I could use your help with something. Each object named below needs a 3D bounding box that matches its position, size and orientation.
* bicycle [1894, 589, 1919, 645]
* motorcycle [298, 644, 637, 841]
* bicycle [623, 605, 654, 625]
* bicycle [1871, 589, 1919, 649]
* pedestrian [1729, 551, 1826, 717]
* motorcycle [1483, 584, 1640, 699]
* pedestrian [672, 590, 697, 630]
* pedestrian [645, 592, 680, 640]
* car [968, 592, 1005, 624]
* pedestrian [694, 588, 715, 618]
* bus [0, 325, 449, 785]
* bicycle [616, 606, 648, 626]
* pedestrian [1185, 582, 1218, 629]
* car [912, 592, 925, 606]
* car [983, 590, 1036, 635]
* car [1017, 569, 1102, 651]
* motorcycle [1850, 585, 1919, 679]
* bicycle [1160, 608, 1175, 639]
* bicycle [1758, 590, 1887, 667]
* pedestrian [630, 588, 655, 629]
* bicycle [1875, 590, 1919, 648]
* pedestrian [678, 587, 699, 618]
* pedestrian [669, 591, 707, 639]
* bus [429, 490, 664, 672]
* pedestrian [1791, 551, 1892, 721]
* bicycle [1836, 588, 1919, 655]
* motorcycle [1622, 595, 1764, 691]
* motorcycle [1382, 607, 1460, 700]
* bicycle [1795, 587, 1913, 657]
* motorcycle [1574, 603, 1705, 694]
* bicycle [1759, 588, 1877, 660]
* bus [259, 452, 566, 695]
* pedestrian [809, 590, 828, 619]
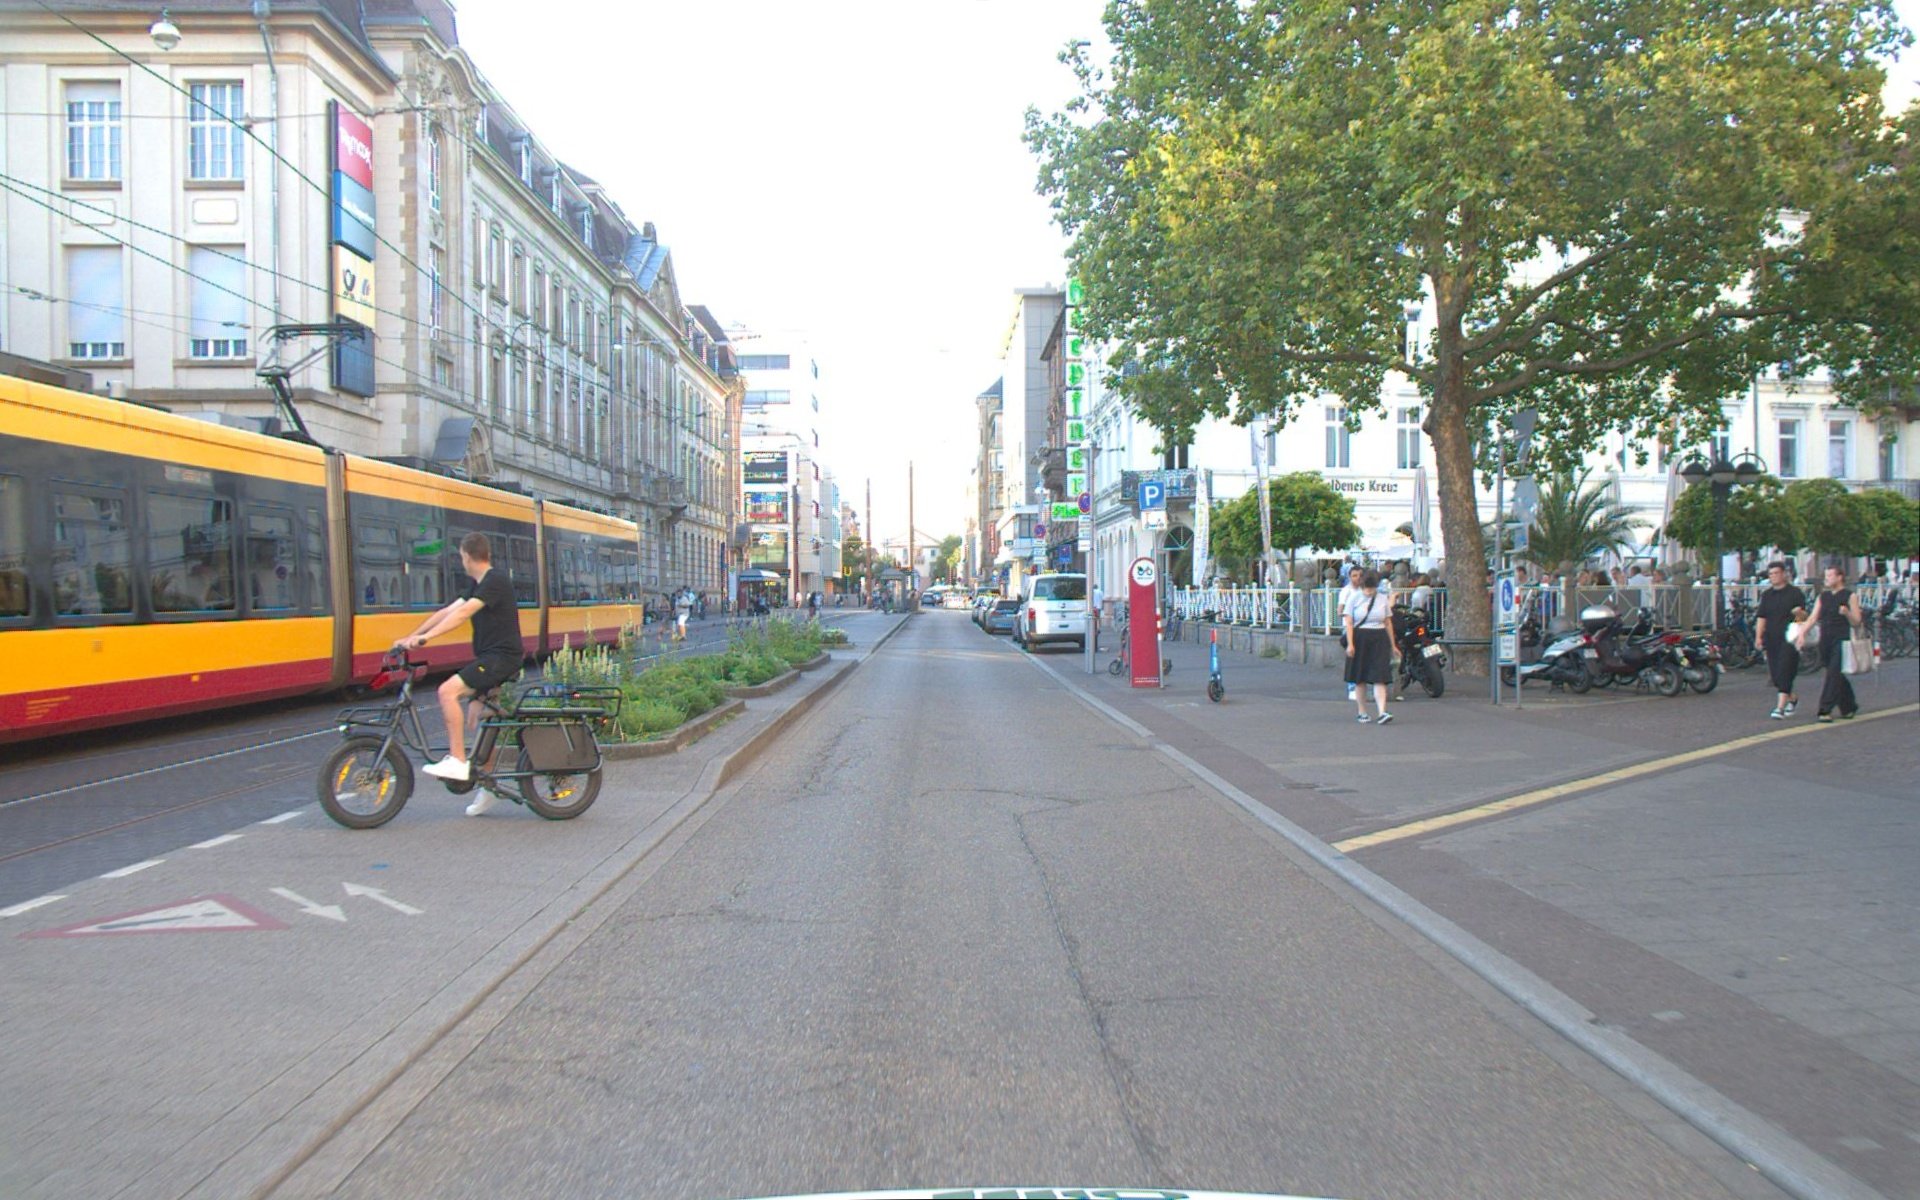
[{"bbox_3d":[23.319,0.408,39.161,2.073,1.314,0.441,0,1,34],"label":"bicycle"},{"bbox_3d":[-3.137,0.872,10.603,2.020,1.143,0.563,0,-2,-28],"label":"motorcycle"},{"bbox_3d":[-16.308,0.761,83.882,1.555,0.965,0.358,0,-1,-13],"label":"bicycle"},{"bbox_3d":[21.348,0.414,36.593,2.073,1.314,0.441,0,0,34],"label":"bicycle"},{"bbox_3d":[8.971,0.377,18.153,0.816,1.772,0.649,1,-2,-39],"label":"pedestrian"},{"bbox_3d":[8.349,0.538,23.068,0.557,1.447,2.277,0,2,-27],"label":"motorcycle"},{"bbox_3d":[-11.940,0.425,71.687,1.030,1.715,0.906,0,-2,-10],"label":"pedestrian"},{"bbox_3d":[-9.657,0.521,53.704,0.746,1.540,0.858,-2,-2,42],"label":"pedestrian"},{"bbox_3d":[1.494,0.477,94.375,1.953,1.696,4.419,-1,-2,-1],"label":"car"},{"bbox_3d":[-14.575,0.161,94.399,1.033,1.715,0.903,-1,0,-20],"label":"pedestrian"},{"bbox_3d":[-9.163,-0.363,16.852,2.765,3.715,17.070,-1,0,-1],"label":"bus"},{"bbox_3d":[-16.304,0.796,82.149,1.555,0.965,0.358,0,-2,-13],"label":"bicycle"},{"bbox_3d":[6.985,0.152,47.837,0.806,1.329,0.869,-1,-2,-2],"label":"pedestrian"},{"bbox_3d":[-5.504,-0.128,220.176,1.725,1.859,3.569,-1,-2,-1],"label":"car"},{"bbox_3d":[2.002,0.509,68.298,1.953,1.791,4.420,-1,0,-1],"label":"car"},{"bbox_3d":[2.569,0.263,43.526,1.876,2.016,4.420,-1,0,-1],"label":"car"},{"bbox_3d":[13.587,0.450,23.159,0.557,1.304,1.931,0,0,-37],"label":"motorcycle"},{"bbox_3d":[6.192,0.715,49.343,0.245,0.918,1.373,-1,-2,-1],"label":"bicycle"},{"bbox_3d":[15.595,0.489,29.957,0.437,1.314,2.090,-1,2,-36],"label":"bicycle"},{"bbox_3d":[-13.556,0.359,70.660,1.030,1.715,0.906,0,-2,-10],"label":"pedestrian"},{"bbox_3d":[21.979,0.424,37.573,2.073,1.314,0.441,0,1,34],"label":"bicycle"},{"bbox_3d":[-15.179,0.152,92.404,1.033,1.715,0.903,0,0,-20],"label":"pedestrian"},{"bbox_3d":[-8.778,0.491,53.413,0.706,1.540,1.031,-1,-2,42],"label":"pedestrian"},{"bbox_3d":[-9.482,-0.308,39.630,2.765,3.676,11.820,-1,-1,-1],"label":"bus"},{"bbox_3d":[9.348,0.381,17.543,0.816,1.754,0.649,1,-2,-39],"label":"pedestrian"},{"bbox_3d":[18.996,0.422,33.665,0.437,1.314,2.090,-1,2,-36],"label":"bicycle"},{"bbox_3d":[10.356,0.577,23.449,0.554,1.304,1.941,0,0,-27],"label":"motorcycle"},{"bbox_3d":[6.168,0.690,22.229,0.446,1.178,2.031,0,0,-1],"label":"motorcycle"},{"bbox_3d":[17.798,0.426,32.973,0.437,1.314,2.090,-2,2,-36],"label":"bicycle"},{"bbox_3d":[9.538,0.658,23.291,0.544,1.171,1.782,0,2,-27],"label":"motorcycle"},{"bbox_3d":[16.821,0.453,32.485,0.437,1.314,2.090,-3,3,-36],"label":"bicycle"},{"bbox_3d":[-9.402,-0.404,29.550,2.765,3.688,8.288,-1,0,-1],"label":"bus"},{"bbox_3d":[-8.383,0.280,97.980,1.027,1.715,0.908,0,0,-1],"label":"pedestrian"}]
